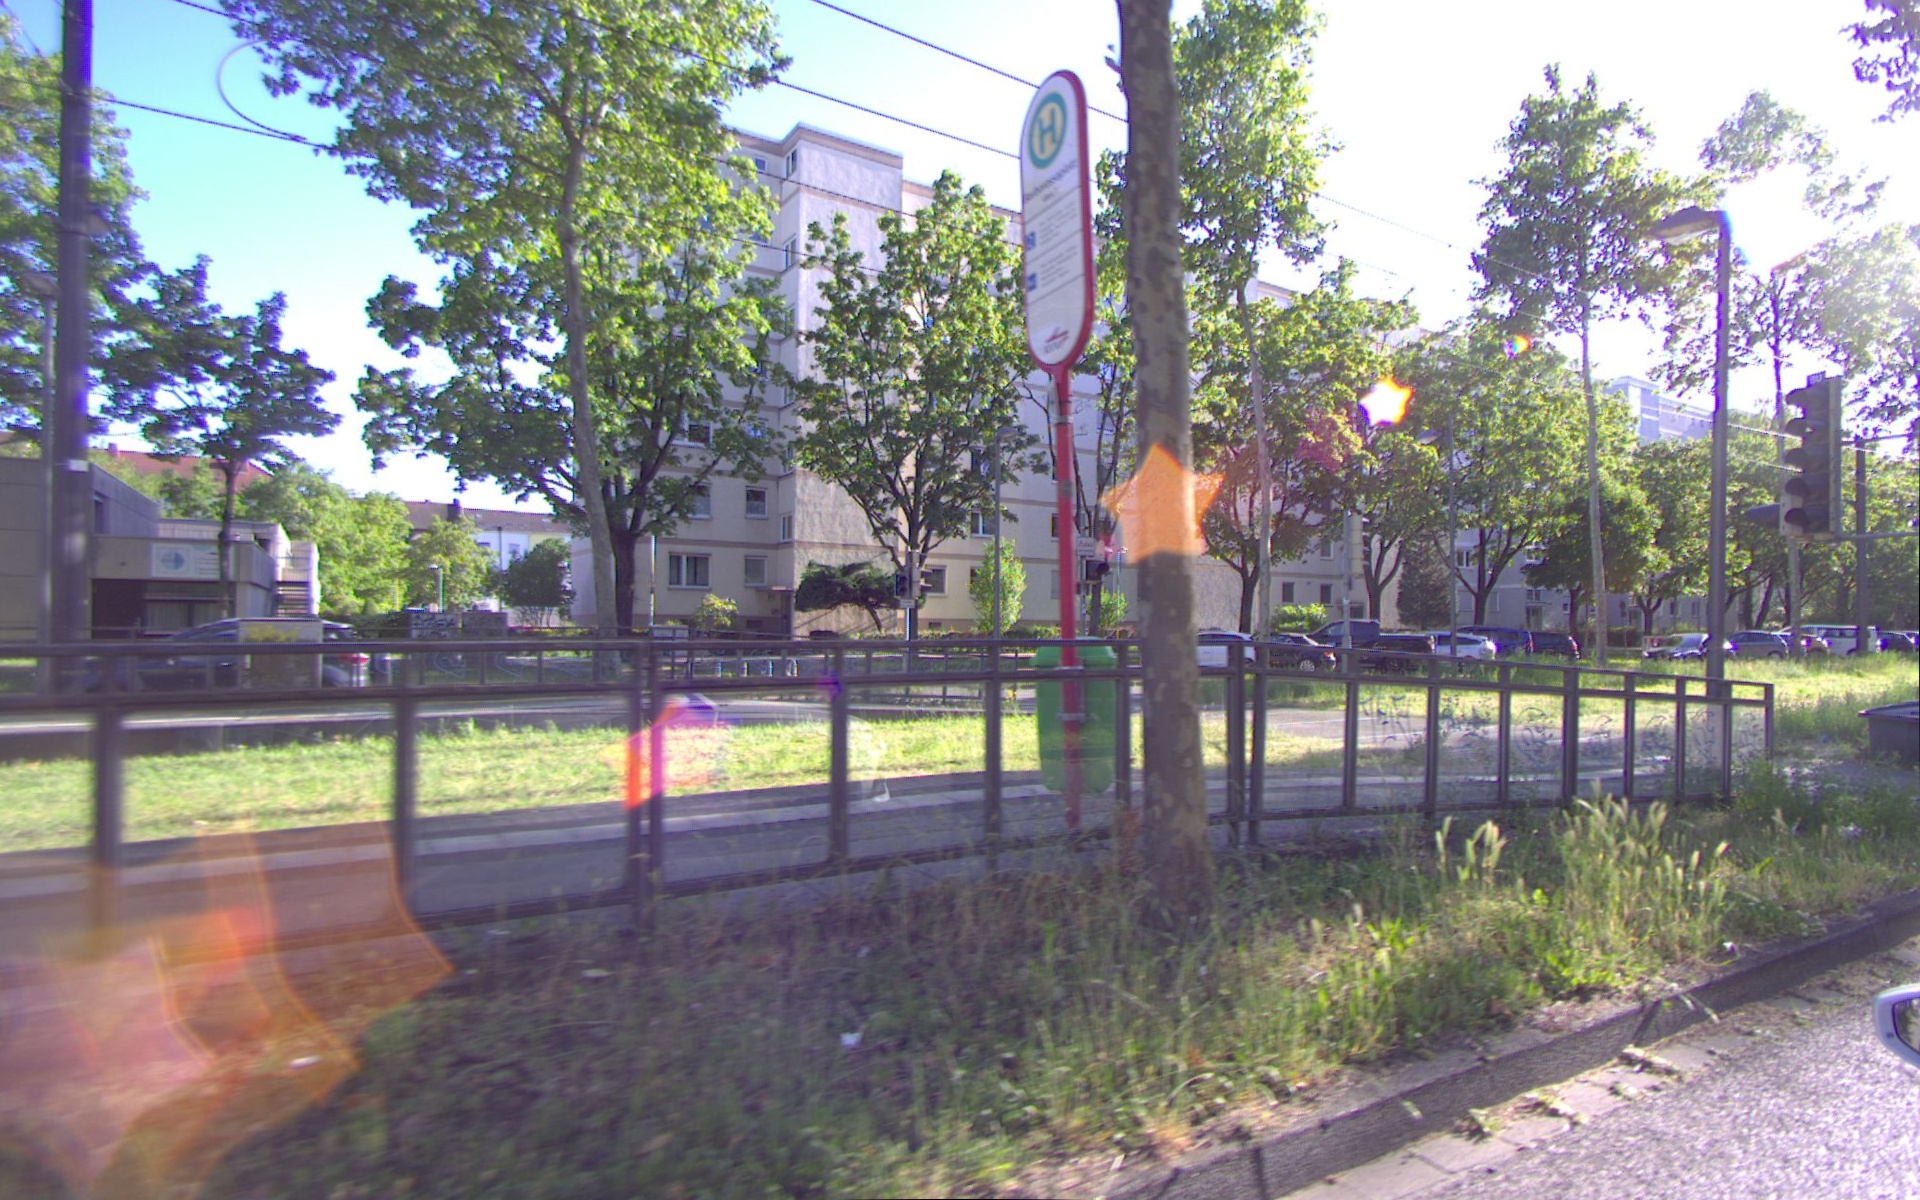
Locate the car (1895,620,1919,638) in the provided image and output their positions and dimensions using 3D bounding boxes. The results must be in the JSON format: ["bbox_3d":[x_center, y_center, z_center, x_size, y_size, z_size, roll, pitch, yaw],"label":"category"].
[{"bbox_3d":[94.200,2.834,97.689,4.397,1.697,1.796,0,-2,18],"label":"car"}]

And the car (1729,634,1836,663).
[{"bbox_3d":[43.178,2.547,52.814,4.004,1.451,1.580,0,-2,19],"label":"car"}]

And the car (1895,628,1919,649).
[{"bbox_3d":[67.565,2.653,69.323,4.049,1.355,1.796,0,0,18],"label":"car"}]

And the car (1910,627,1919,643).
[{"bbox_3d":[97.241,3.503,99.328,4.397,1.589,1.796,0,-2,18],"label":"car"}]

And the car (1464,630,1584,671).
[{"bbox_3d":[23.255,2.061,41.561,4.002,1.496,1.652,0,3,13],"label":"car"}]

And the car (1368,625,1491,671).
[{"bbox_3d":[17.511,1.791,37.685,4.004,1.667,1.652,0,-3,19],"label":"car"}]

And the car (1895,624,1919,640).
[{"bbox_3d":[89.373,2.963,92.879,3.843,1.507,1.796,0,-2,18],"label":"car"}]

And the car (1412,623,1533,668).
[{"bbox_3d":[20.179,1.783,39.703,4.002,1.668,1.652,-1,1,14],"label":"car"}]

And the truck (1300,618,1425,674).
[{"bbox_3d":[14.253,1.586,35.592,4.007,1.799,1.650,1,1,25],"label":"truck"}]

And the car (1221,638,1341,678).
[{"bbox_3d":[10.846,1.943,34.049,3.749,1.263,1.841,0,-1,18],"label":"car"}]

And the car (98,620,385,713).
[{"bbox_3d":[-13.147,1.169,18.748,4.149,1.566,1.706,1,-1,-29],"label":"car"}]

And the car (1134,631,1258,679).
[{"bbox_3d":[7.510,1.727,32.220,3.747,1.454,1.842,0,-1,11],"label":"car"}]

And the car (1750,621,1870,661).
[{"bbox_3d":[46.910,2.236,55.572,4.705,2.033,1.892,0,0,22],"label":"car"}]

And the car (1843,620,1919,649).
[{"bbox_3d":[55.602,2.051,60.126,4.023,1.628,1.986,-1,0,40],"label":"car"}]

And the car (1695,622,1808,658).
[{"bbox_3d":[38.892,1.962,49.454,4.004,1.667,1.652,0,-2,19],"label":"car"}]

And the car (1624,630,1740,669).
[{"bbox_3d":[27.145,1.819,37.751,4.116,1.407,1.985,1,-2,-29],"label":"car"}]

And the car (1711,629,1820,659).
[{"bbox_3d":[41.102,2.232,51.356,4.004,1.502,1.652,0,-1,19],"label":"car"}]

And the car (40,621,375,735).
[{"bbox_3d":[-11.337,1.112,15.507,3.884,1.566,1.707,1,-1,-29],"label":"car"}]
